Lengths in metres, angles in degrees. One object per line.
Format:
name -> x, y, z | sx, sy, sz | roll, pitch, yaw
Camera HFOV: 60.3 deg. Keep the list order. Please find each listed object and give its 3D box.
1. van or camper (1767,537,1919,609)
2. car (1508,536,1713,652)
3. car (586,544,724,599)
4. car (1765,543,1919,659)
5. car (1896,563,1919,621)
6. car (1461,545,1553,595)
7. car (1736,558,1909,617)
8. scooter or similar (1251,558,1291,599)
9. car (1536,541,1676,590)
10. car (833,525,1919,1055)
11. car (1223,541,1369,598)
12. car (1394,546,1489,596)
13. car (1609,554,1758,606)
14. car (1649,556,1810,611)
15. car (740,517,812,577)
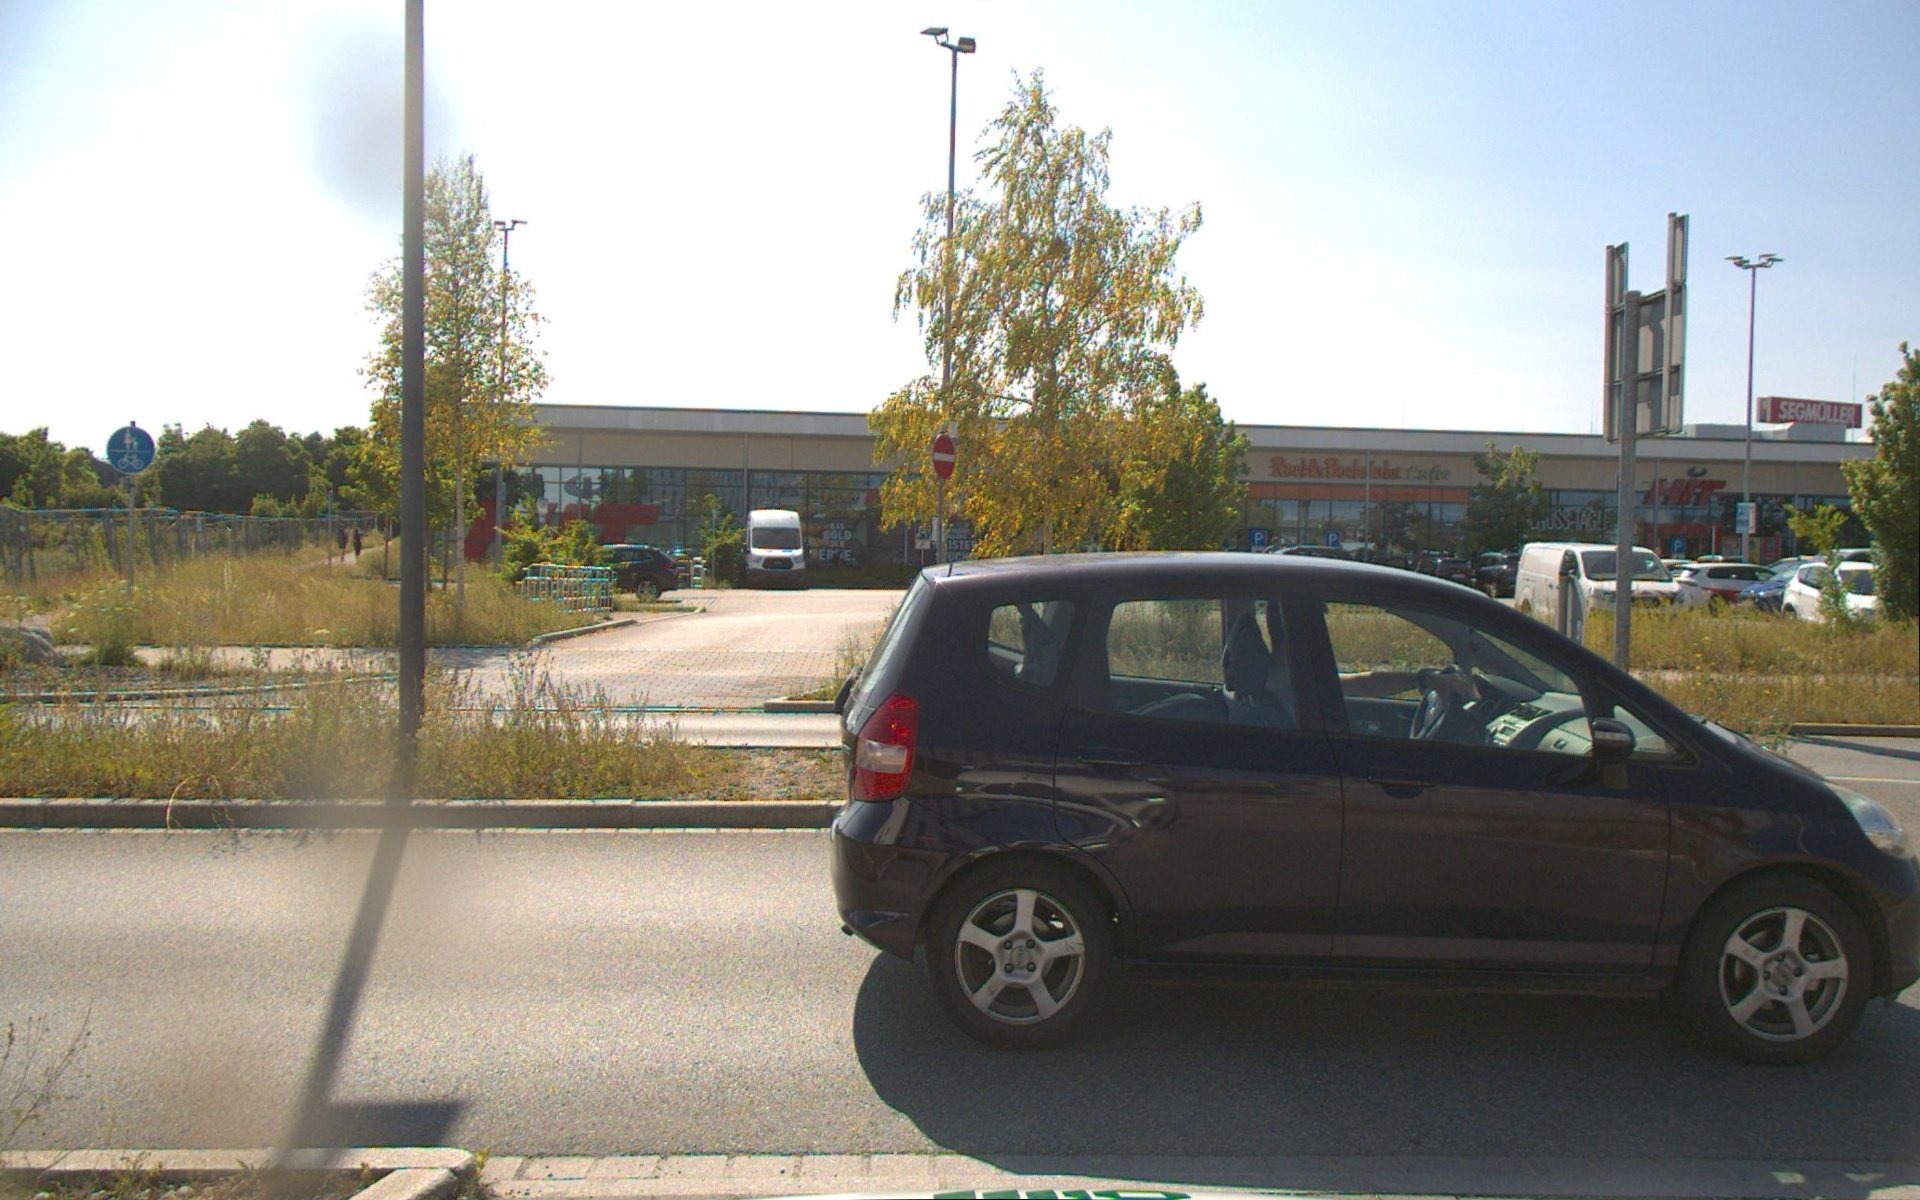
van or camper -> 27.109, -0.823, 49.509 | 4.935, 2.048, 1.999 | 1, 2, -4
car -> 12.531, -0.205, 32.278 | 2.038, 2.048, 5.231 | 1, 2, 2
car -> -8.701, -0.818, 47.377 | 3.762, 1.448, 1.768 | 1, 1, -10
car -> 17.638, -0.061, 32.067 | 2.111, 2.048, 5.121 | 1, 2, 8
car -> 27.450, -0.153, 44.112 | 3.909, 1.534, 1.873 | 1, 1, -5
car -> 20.429, -1.159, 61.963 | 1.953, 1.736, 3.999 | 1, 2, -2
car -> 22.341, -0.336, 42.897 | 3.651, 1.414, 1.729 | 1, 2, -9
scooter or similar -> 8.512, -0.602, 45.297 | 0.924, 1.098, 0.652 | 1, 2, -2
car -> 19.993, -1.077, 51.246 | 3.651, 1.414, 1.729 | 1, 2, -9
car -> 1.482, 0.556, 6.040 | 3.753, 1.577, 2.000 | 1, 2, -2
car -> 9.539, -0.882, 47.066 | 3.720, 1.535, 1.730 | 1, 2, -6
car -> 17.832, -1.102, 61.437 | 1.955, 1.736, 3.995 | 1, 2, -7
car -> 21.173, -0.590, 48.461 | 3.651, 1.414, 1.729 | 1, 2, -9
car -> 21.110, -0.473, 45.415 | 3.651, 1.414, 1.729 | 1, 2, -9
car -> -6.651, -1.908, 59.176 | 2.181, 2.011, 6.683 | 0, 2, -9
